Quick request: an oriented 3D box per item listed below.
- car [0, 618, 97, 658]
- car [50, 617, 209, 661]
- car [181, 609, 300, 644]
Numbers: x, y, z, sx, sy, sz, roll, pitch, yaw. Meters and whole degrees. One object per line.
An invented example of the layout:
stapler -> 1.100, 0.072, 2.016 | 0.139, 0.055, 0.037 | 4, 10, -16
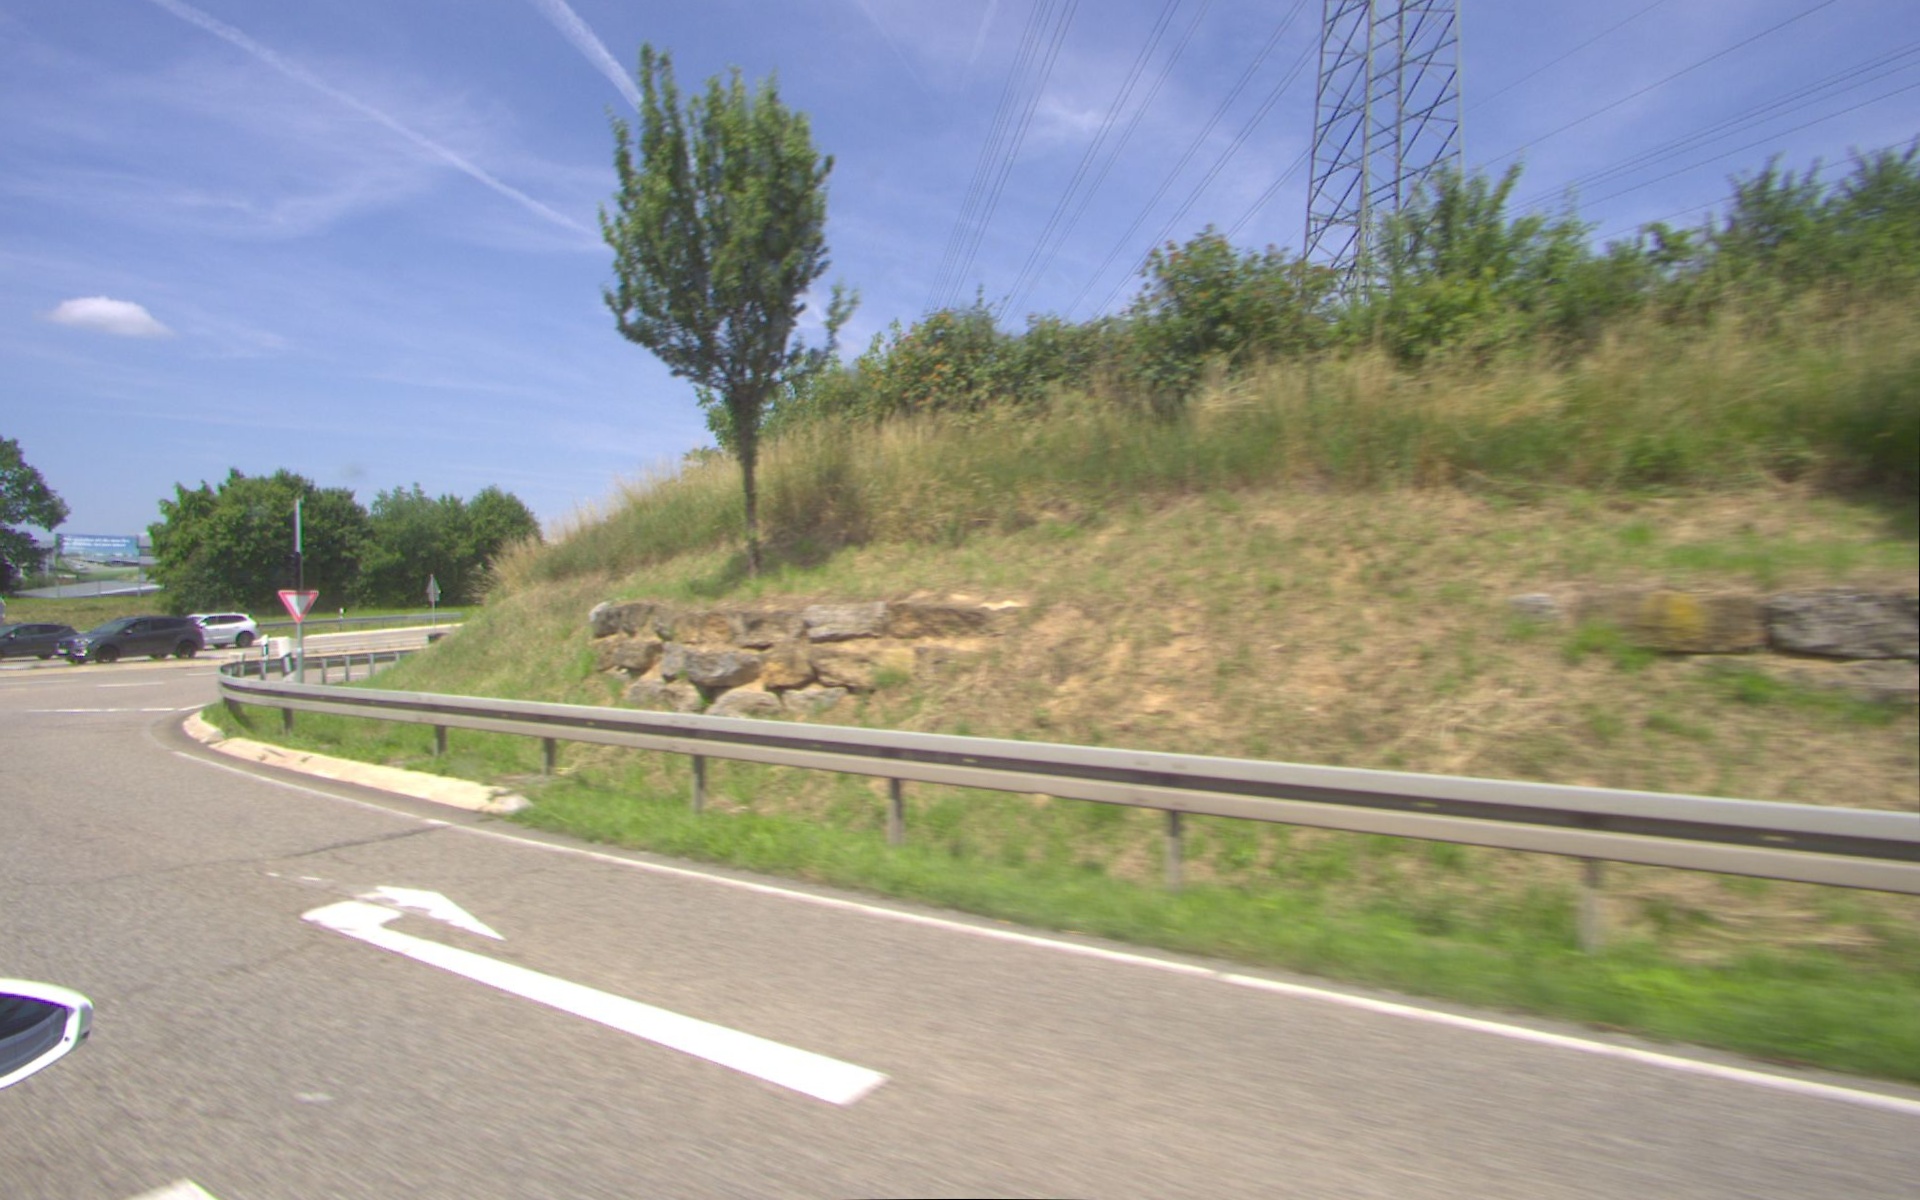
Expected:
car -> -36.928, 1.495, 39.531 | 1.688, 1.530, 3.989 | -1, -1, 23
car -> -31.094, 1.432, 37.655 | 1.687, 1.530, 4.363 | -1, -1, 21
car -> -34.324, 1.242, 47.931 | 1.750, 1.613, 4.360 | -1, -1, 23
